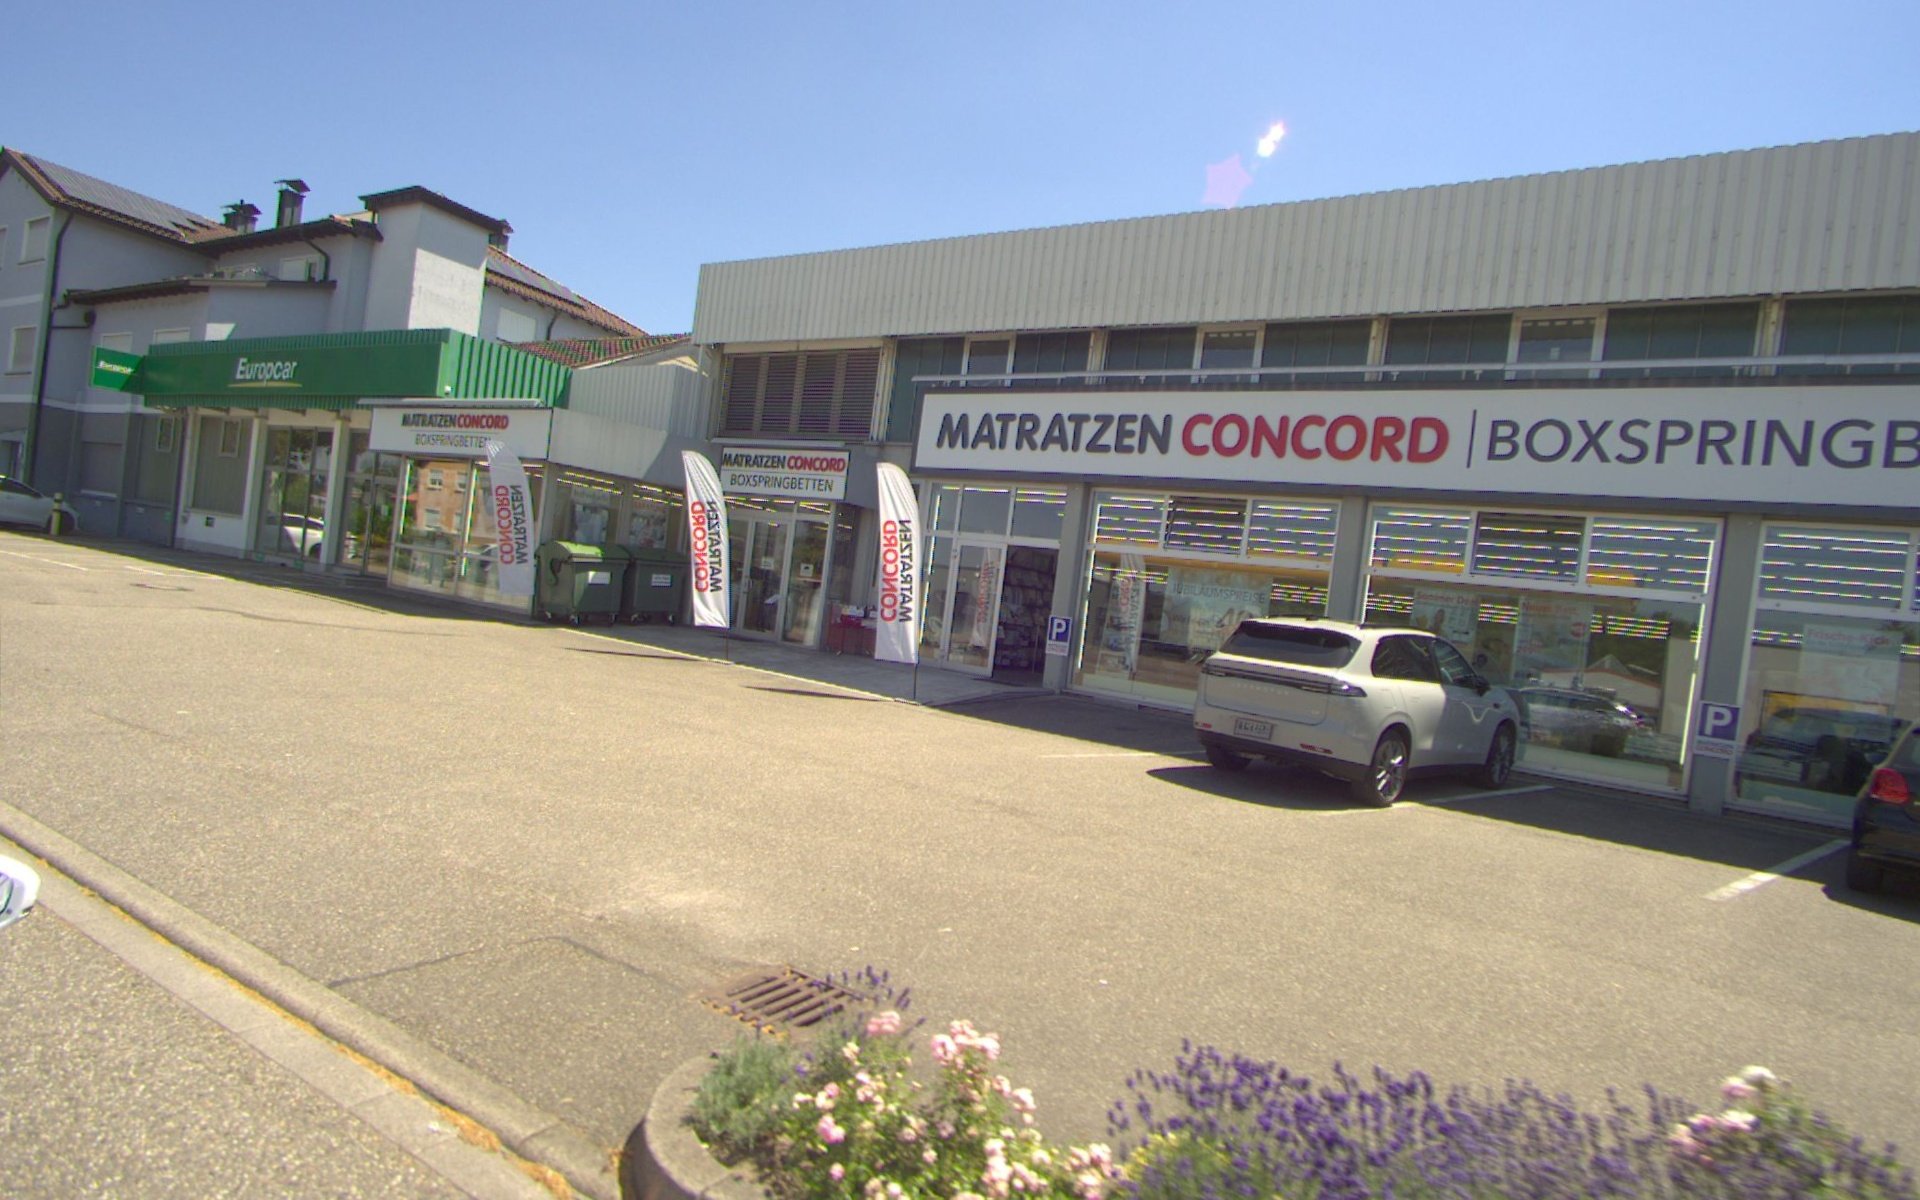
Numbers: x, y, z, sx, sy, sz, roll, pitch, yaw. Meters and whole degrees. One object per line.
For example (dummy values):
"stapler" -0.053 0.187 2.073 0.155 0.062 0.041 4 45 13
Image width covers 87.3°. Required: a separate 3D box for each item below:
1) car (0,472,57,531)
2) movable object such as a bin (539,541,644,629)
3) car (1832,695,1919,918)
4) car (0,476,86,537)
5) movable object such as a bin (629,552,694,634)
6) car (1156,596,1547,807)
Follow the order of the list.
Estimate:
"car" -28.566 -2.994 28.529 1.767 1.570 3.992 7 1 28
"movable object such as a bin" -6.514 -0.251 17.839 0.691 1.442 1.561 8 4 36
"car" 8.641 1.707 8.321 3.841 1.552 1.657 6 1 -43
"car" -25.543 -2.588 25.910 1.918 1.388 4.359 7 0 6
"movable object such as a bin" -5.652 -0.125 19.070 0.691 1.465 0.852 7 4 36
"car" 4.356 1.053 10.814 4.564 1.662 1.976 6 0 -42
